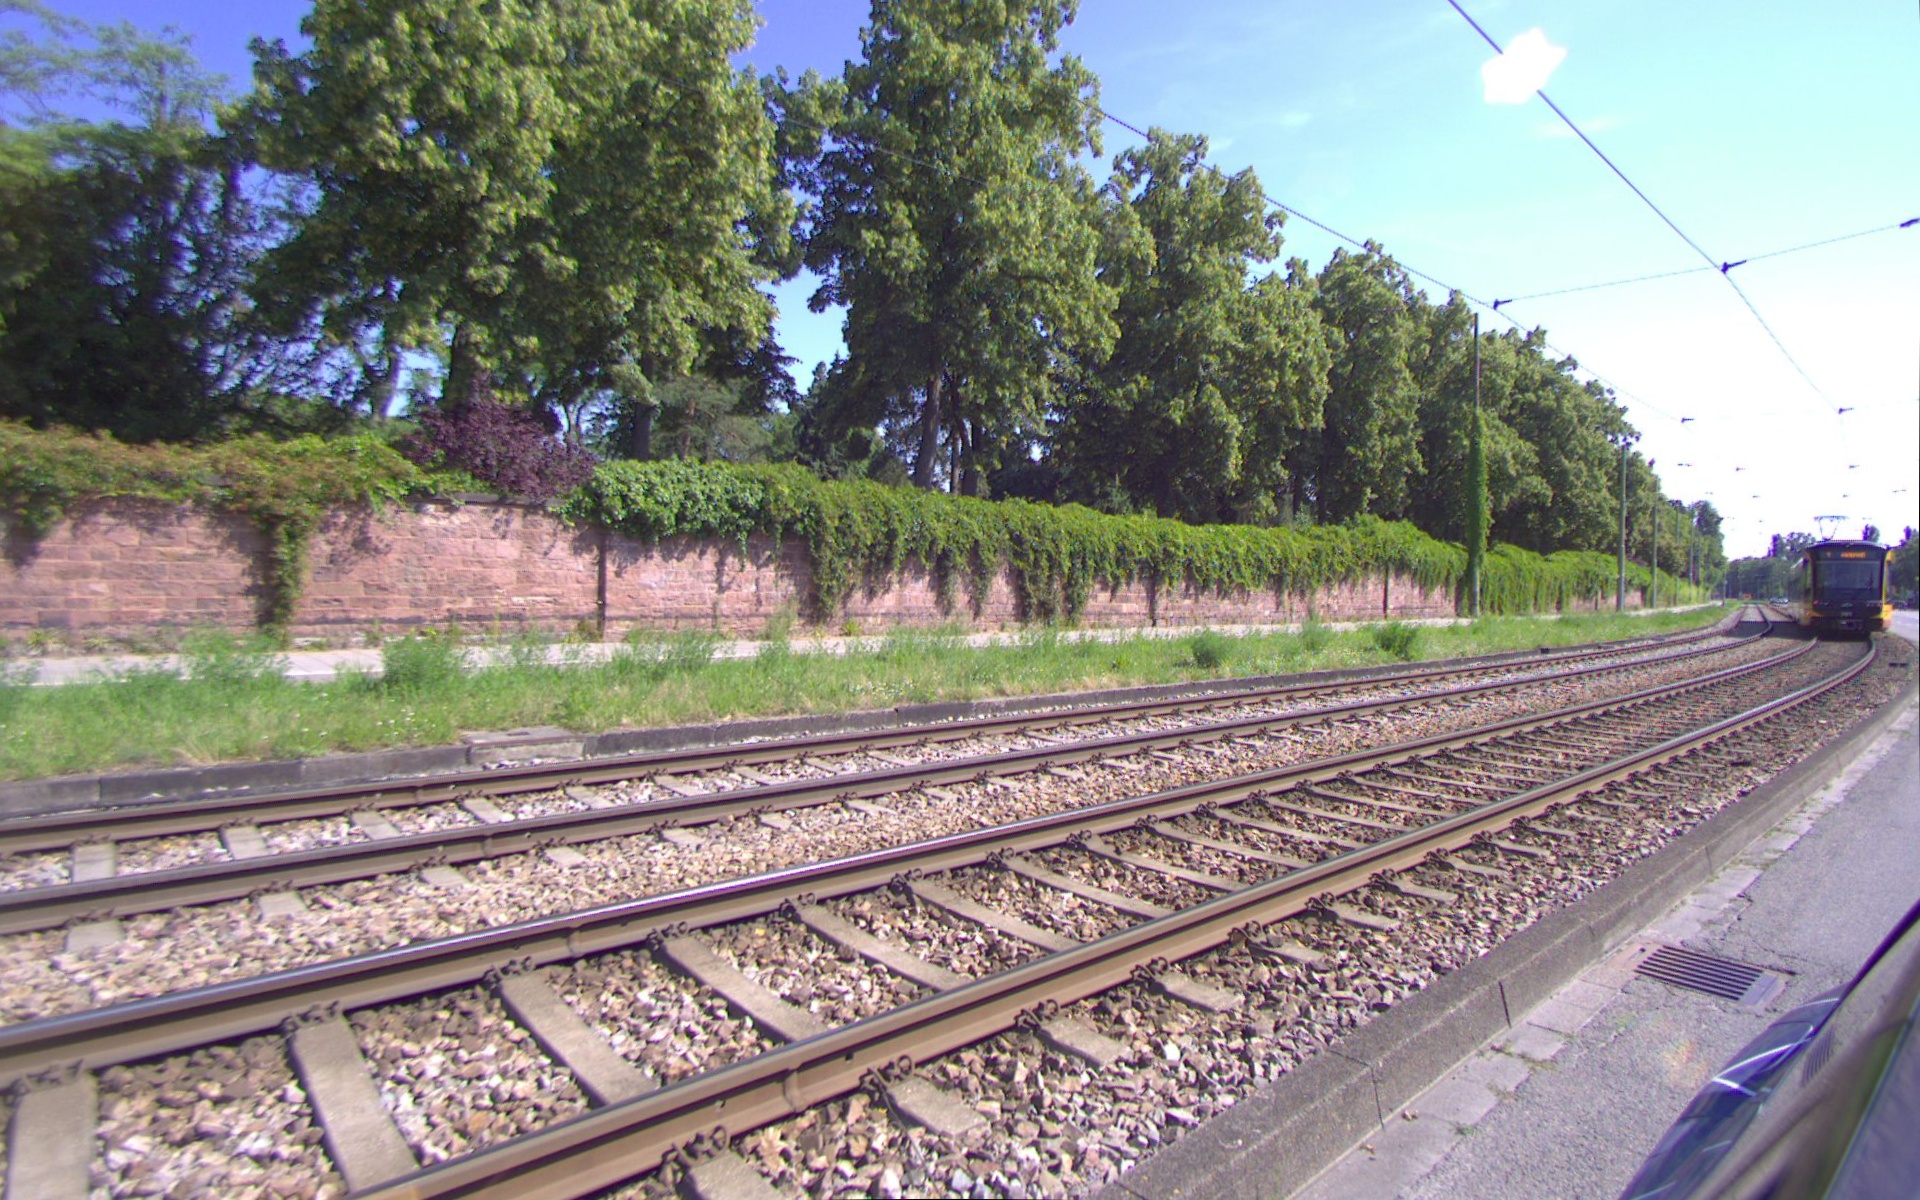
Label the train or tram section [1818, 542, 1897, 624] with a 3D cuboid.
[{"bbox_3d":[48.218,-0.839,54.331,2.712,3.784,18.591,1,1,42],"label":"train or tram section"}]

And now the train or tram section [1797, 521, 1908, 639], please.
[{"bbox_3d":[35.771,-0.710,40.507,2.712,3.784,18.591,1,1,42],"label":"train or tram section"}]
